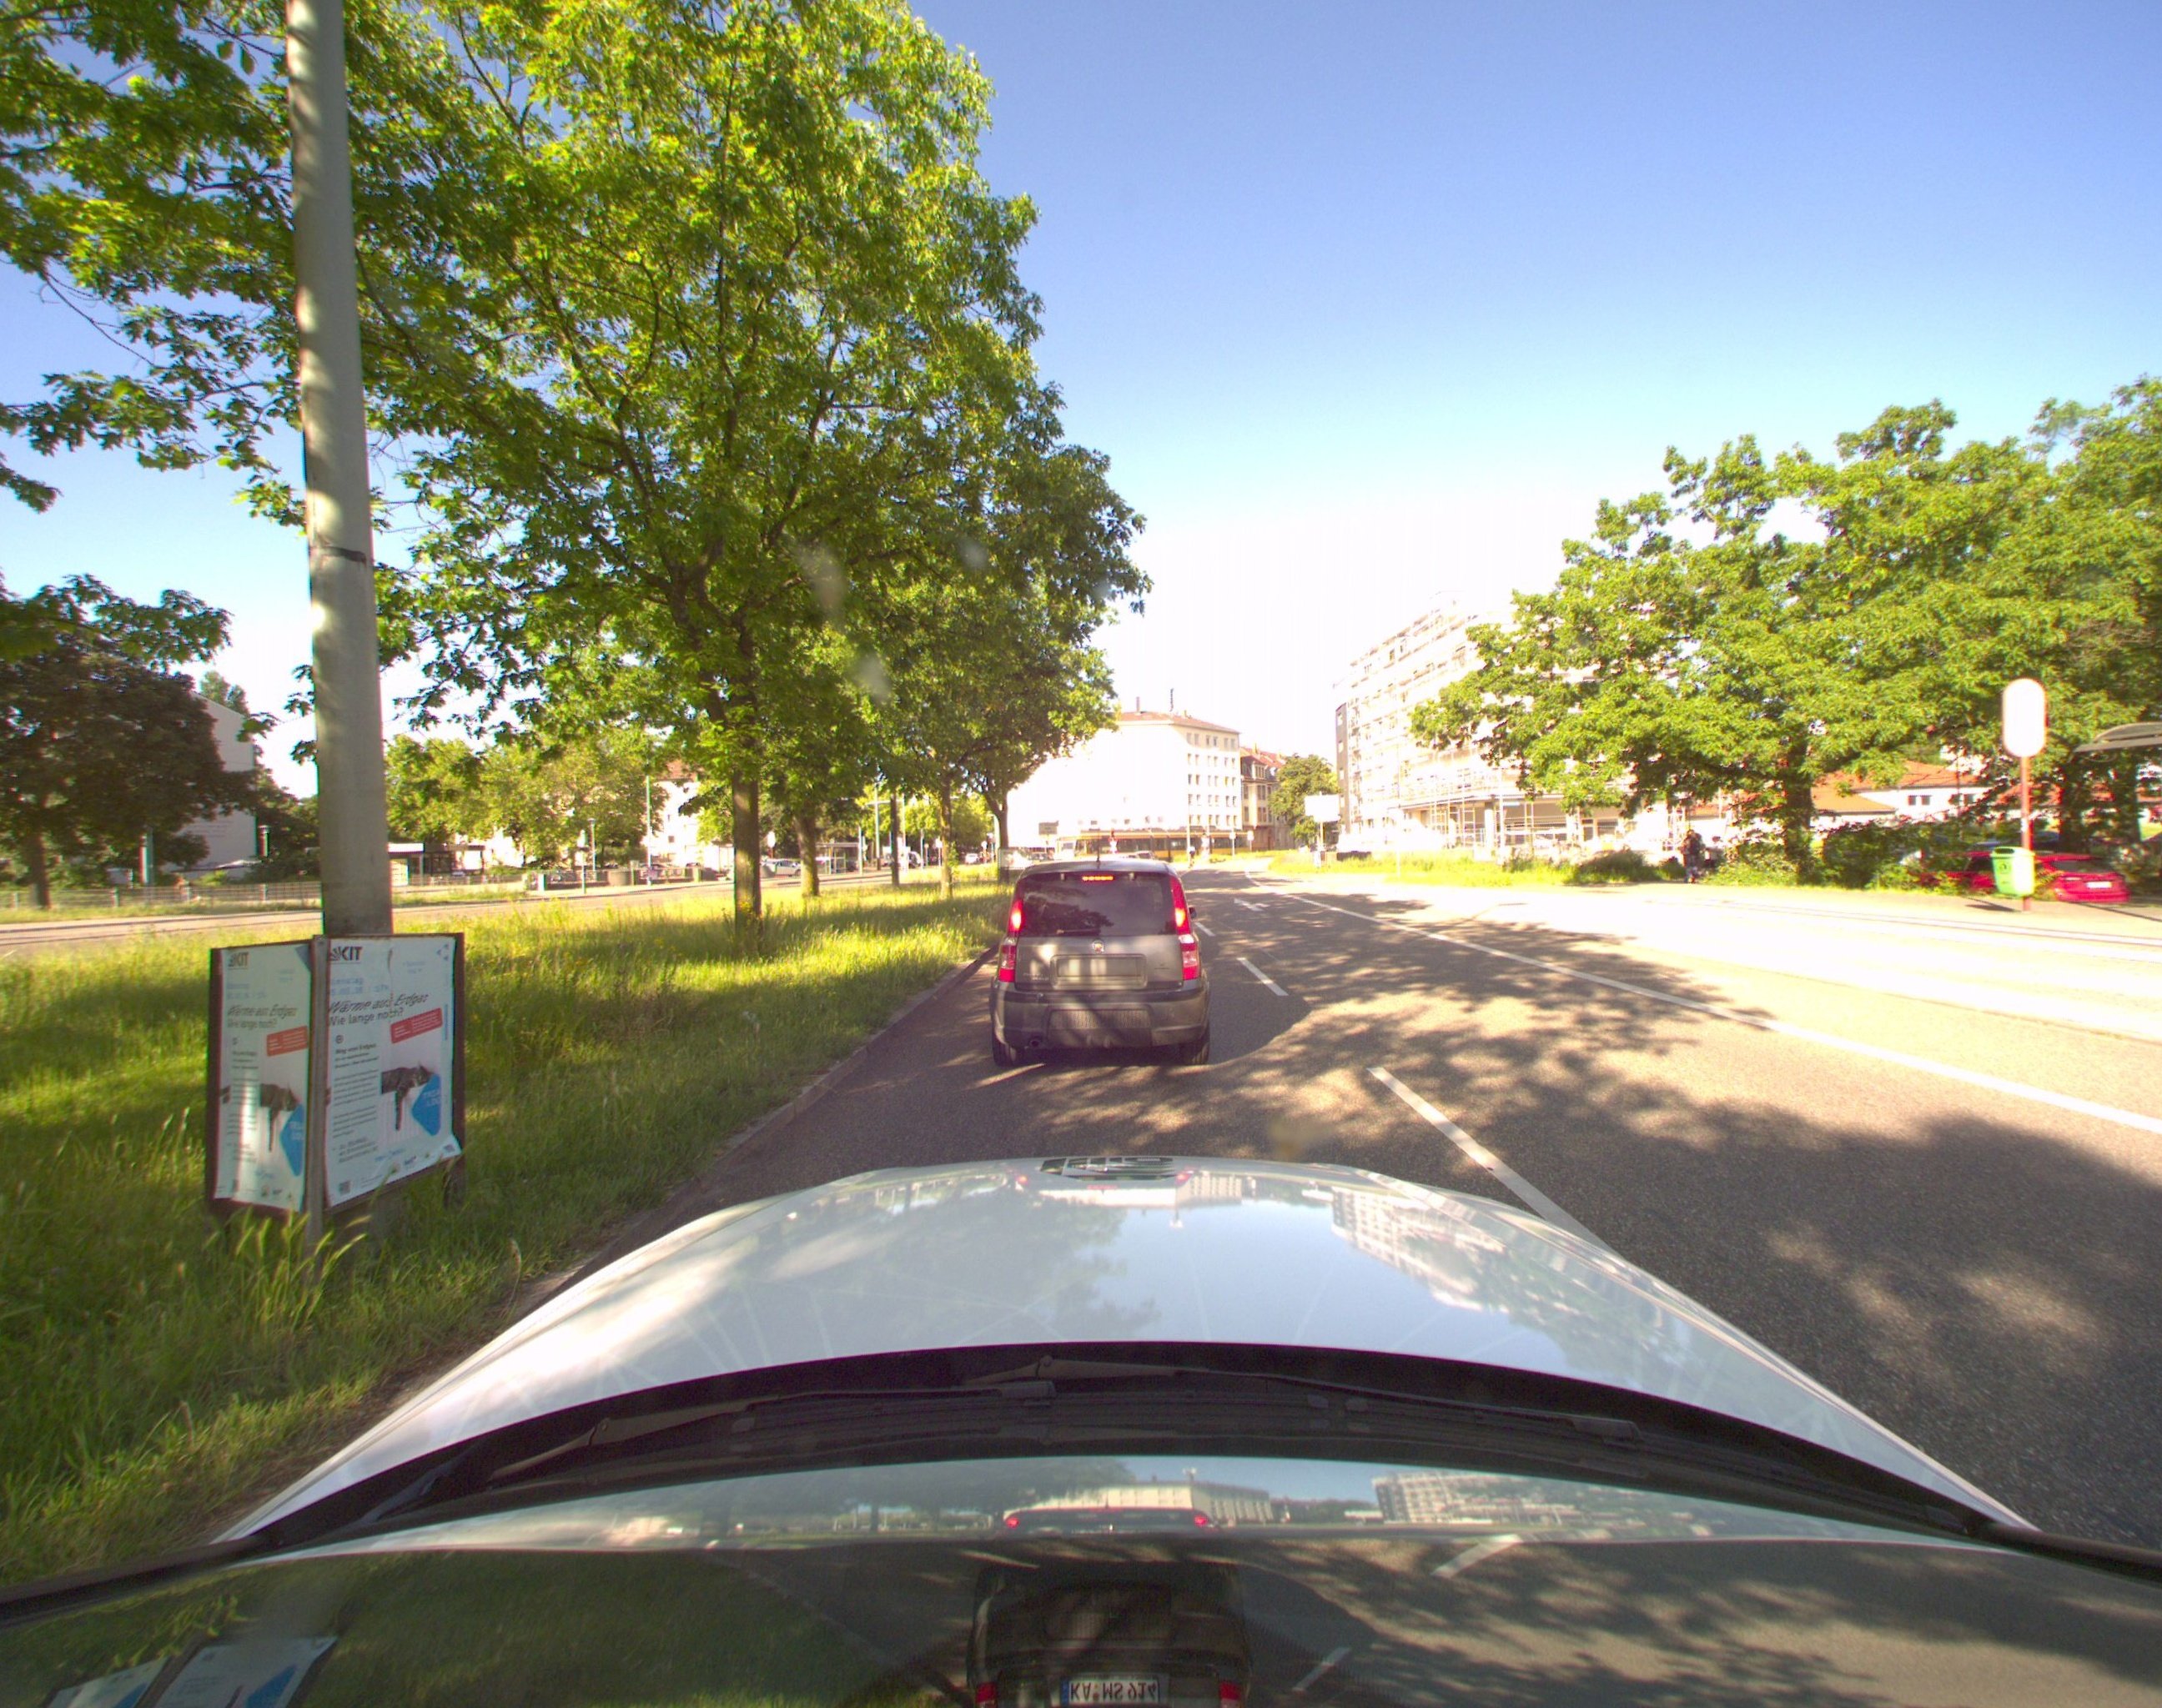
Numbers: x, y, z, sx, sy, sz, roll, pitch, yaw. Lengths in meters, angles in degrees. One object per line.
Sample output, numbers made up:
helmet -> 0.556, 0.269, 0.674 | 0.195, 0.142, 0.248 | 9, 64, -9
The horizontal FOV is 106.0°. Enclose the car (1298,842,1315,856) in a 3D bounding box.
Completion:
car -> 24.920, -0.535, 89.996 | 1.669, 1.449, 3.588 | -2, 0, 18

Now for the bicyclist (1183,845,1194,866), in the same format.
bicyclist -> 7.417, 0.082, 56.111 | 0.738, 1.438, 0.846 | 0, -1, 5

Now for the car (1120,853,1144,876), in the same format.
car -> 3.100, 0.621, 49.678 | 1.351, 1.281, 2.877 | -2, 0, 2

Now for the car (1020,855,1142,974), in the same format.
car -> 0.053, 0.746, 11.763 | 1.458, 1.401, 3.395 | -2, 0, 2

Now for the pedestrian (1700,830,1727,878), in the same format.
pedestrian -> 19.327, -0.013, 24.892 | 0.516, 1.447, 0.595 | -2, 0, 28

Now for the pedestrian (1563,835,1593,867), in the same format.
pedestrian -> 26.526, -0.163, 43.453 | 0.890, 1.653, 0.982 | -2, 0, -16

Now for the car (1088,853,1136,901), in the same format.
car -> 1.034, 0.726, 27.414 | 1.458, 1.424, 3.383 | -2, 0, 2

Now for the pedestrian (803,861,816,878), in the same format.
pedestrian -> -26.211, 1.493, 78.572 | 0.910, 1.607, 0.802 | -2, 0, 41

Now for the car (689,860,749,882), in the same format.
car -> -30.194, 1.412, 68.010 | 1.974, 1.684, 4.025 | -2, 0, 40

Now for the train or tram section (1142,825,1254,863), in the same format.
train or tram section -> 13.493, -1.237, 90.434 | 3.263, 3.770, 20.944 | -2, 0, 35

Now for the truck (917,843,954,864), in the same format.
truck -> -23.001, -0.136, 128.571 | 5.425, 3.168, 2.358 | -2, 0, 30

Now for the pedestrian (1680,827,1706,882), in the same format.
pedestrian -> 18.548, 0.012, 24.683 | 0.516, 1.612, 0.595 | -2, 0, 28

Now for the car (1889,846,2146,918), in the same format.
car -> 21.991, 0.597, 19.374 | 1.747, 1.486, 3.743 | -2, 0, -2

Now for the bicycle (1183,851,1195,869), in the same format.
bicycle -> 7.417, 0.407, 55.991 | 0.705, 1.198, 2.524 | 0, -1, 5

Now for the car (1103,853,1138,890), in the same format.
car -> 1.606, 0.692, 33.967 | 1.351, 1.449, 3.267 | -2, 0, 2

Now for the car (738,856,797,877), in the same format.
car -> -27.314, 1.072, 71.068 | 1.974, 1.684, 4.348 | -2, 0, 40

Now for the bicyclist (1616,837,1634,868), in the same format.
bicyclist -> 27.197, -0.070, 40.706 | 0.579, 1.493, 0.553 | -2, 0, 17

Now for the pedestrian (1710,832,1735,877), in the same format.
pedestrian -> 20.900, 0.013, 26.543 | 0.516, 1.447, 0.595 | -2, 0, 28

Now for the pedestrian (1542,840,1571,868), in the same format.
pedestrian -> 25.288, 0.010, 43.333 | 0.893, 1.447, 0.962 | -2, 0, -13

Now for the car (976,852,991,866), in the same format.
car -> -14.835, 0.737, 124.160 | 1.988, 2.013, 3.997 | -2, 0, -2

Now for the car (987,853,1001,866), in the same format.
car -> -14.255, 0.900, 133.871 | 1.988, 2.013, 3.997 | -2, 0, -2

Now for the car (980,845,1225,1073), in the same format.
car -> 0.209, 0.702, 7.535 | 1.622, 1.508, 4.002 | -2, 0, 2

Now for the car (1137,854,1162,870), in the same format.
car -> 4.870, 0.576, 57.716 | 1.133, 1.064, 2.735 | -2, 0, 19

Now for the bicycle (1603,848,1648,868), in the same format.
bicycle -> 27.212, 0.212, 40.705 | 1.776, 0.945, 0.562 | -2, 0, 16

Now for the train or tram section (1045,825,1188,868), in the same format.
train or tram section -> 3.940, -0.823, 76.817 | 3.263, 3.513, 19.509 | -2, 0, 35

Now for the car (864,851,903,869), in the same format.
car -> -23.993, 0.723, 98.856 | 4.164, 2.013, 1.931 | -2, 0, -1

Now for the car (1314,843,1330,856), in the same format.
car -> 27.746, -0.532, 93.558 | 1.514, 1.314, 3.304 | -2, 0, 20

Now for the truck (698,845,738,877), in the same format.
truck -> -33.070, 0.635, 74.204 | 2.012, 2.805, 3.951 | -2, 0, -44

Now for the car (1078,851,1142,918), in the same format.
car -> 0.728, 0.698, 20.737 | 1.458, 1.508, 3.506 | -2, 0, 2

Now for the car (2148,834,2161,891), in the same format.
car -> 29.865, 0.191, 20.178 | 1.911, 1.486, 3.725 | -2, 0, -17
